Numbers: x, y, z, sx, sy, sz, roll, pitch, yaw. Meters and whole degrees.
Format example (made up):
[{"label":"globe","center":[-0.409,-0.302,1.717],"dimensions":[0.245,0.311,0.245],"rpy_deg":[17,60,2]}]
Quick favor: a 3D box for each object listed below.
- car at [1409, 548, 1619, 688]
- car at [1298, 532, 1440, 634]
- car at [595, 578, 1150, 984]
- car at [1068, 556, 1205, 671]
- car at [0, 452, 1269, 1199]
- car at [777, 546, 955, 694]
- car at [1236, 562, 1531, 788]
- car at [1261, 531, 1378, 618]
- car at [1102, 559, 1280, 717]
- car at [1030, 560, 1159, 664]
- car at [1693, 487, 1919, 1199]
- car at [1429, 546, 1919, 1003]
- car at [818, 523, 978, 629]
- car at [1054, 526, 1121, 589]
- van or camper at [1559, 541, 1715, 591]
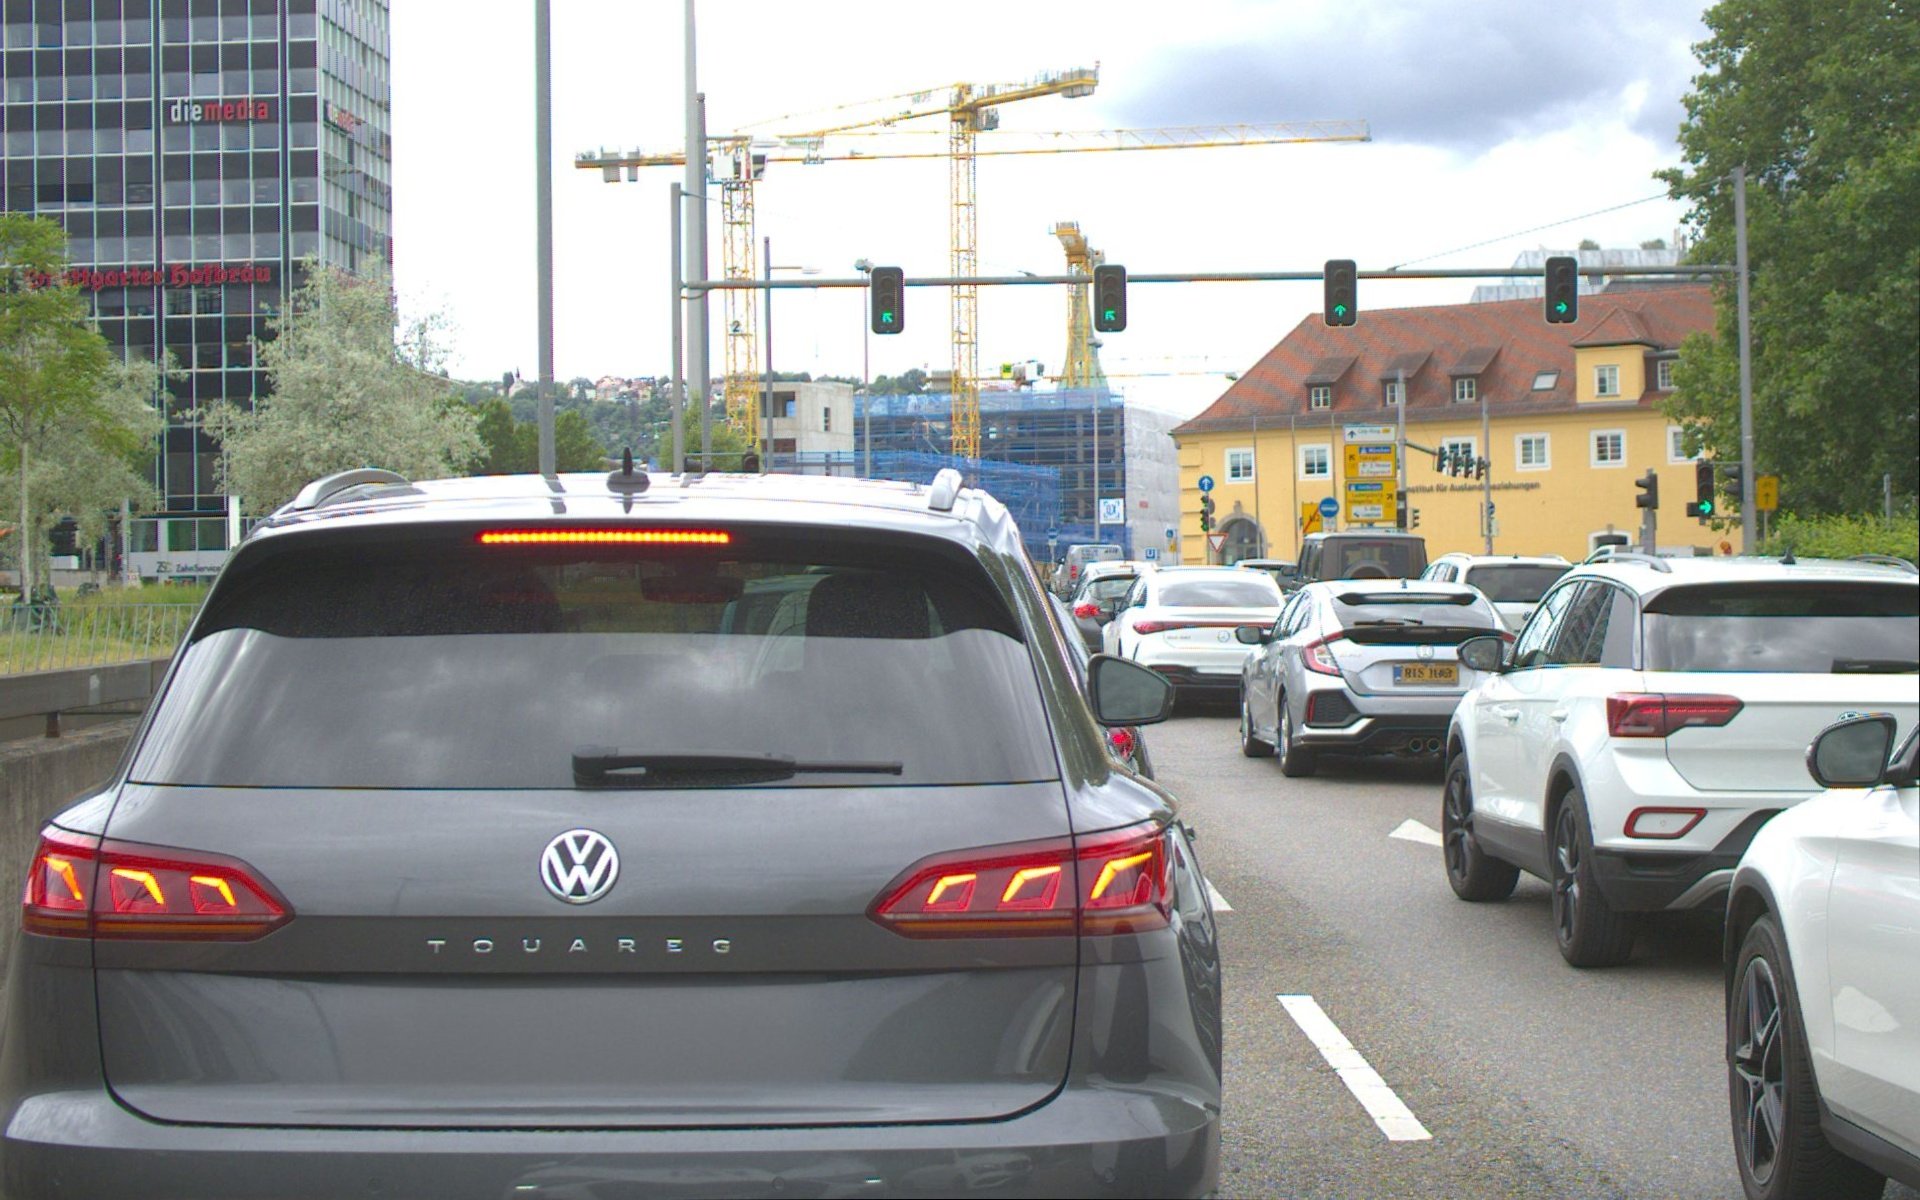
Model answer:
[{"label":"car","center":[6.326,0.166,39.615],"dimensions":[1.803,1.497,3.981],"rpy_deg":[0,1,1]},{"label":"car","center":[6.181,-0.289,52.338],"dimensions":[1.719,1.497,3.981],"rpy_deg":[0,1,1]},{"label":"car","center":[-0.336,0.638,14.361],"dimensions":[1.993,1.382,4.000],"rpy_deg":[0,1,-1]},{"label":"car","center":[2.413,0.156,47.771],"dimensions":[1.719,1.497,3.981],"rpy_deg":[0,1,0]},{"label":"car","center":[-0.568,0.581,6.732],"dimensions":[1.933,1.641,4.000],"rpy_deg":[0,1,-1]},{"label":"car","center":[-0.989,0.176,37.247],"dimensions":[1.814,1.491,3.906],"rpy_deg":[0,1,-1]},{"label":"car","center":[3.061,0.488,25.571],"dimensions":[1.719,1.497,4.144],"rpy_deg":[0,1,1]},{"label":"car","center":[6.384,-0.475,61.378],"dimensions":[1.719,1.497,3.981],"rpy_deg":[0,1,1]},{"label":"car","center":[2.339,0.346,35.445],"dimensions":[1.719,1.497,3.981],"rpy_deg":[0,1,3]},{"label":"car","center":[2.318,0.187,59.158],"dimensions":[2.139,1.722,4.070],"rpy_deg":[0,0,3]},{"label":"car","center":[2.688,0.620,6.214],"dimensions":[1.819,1.641,4.379],"rpy_deg":[0,1,1]},{"label":"car","center":[3.130,0.585,13.957],"dimensions":[1.893,1.580,3.801],"rpy_deg":[0,1,0]},{"label":"car","center":[-0.871,-0.389,51.328],"dimensions":[2.244,1.497,4.611],"rpy_deg":[0,1,1]},{"label":"car","center":[4.160,-1.405,112.784],"dimensions":[1.993,2.007,4.000],"rpy_deg":[0,1,-1]},{"label":"van or camper","center":[27.998,-1.409,142.262],"dimensions":[6.017,2.007,2.015],"rpy_deg":[0,1,35]}]
